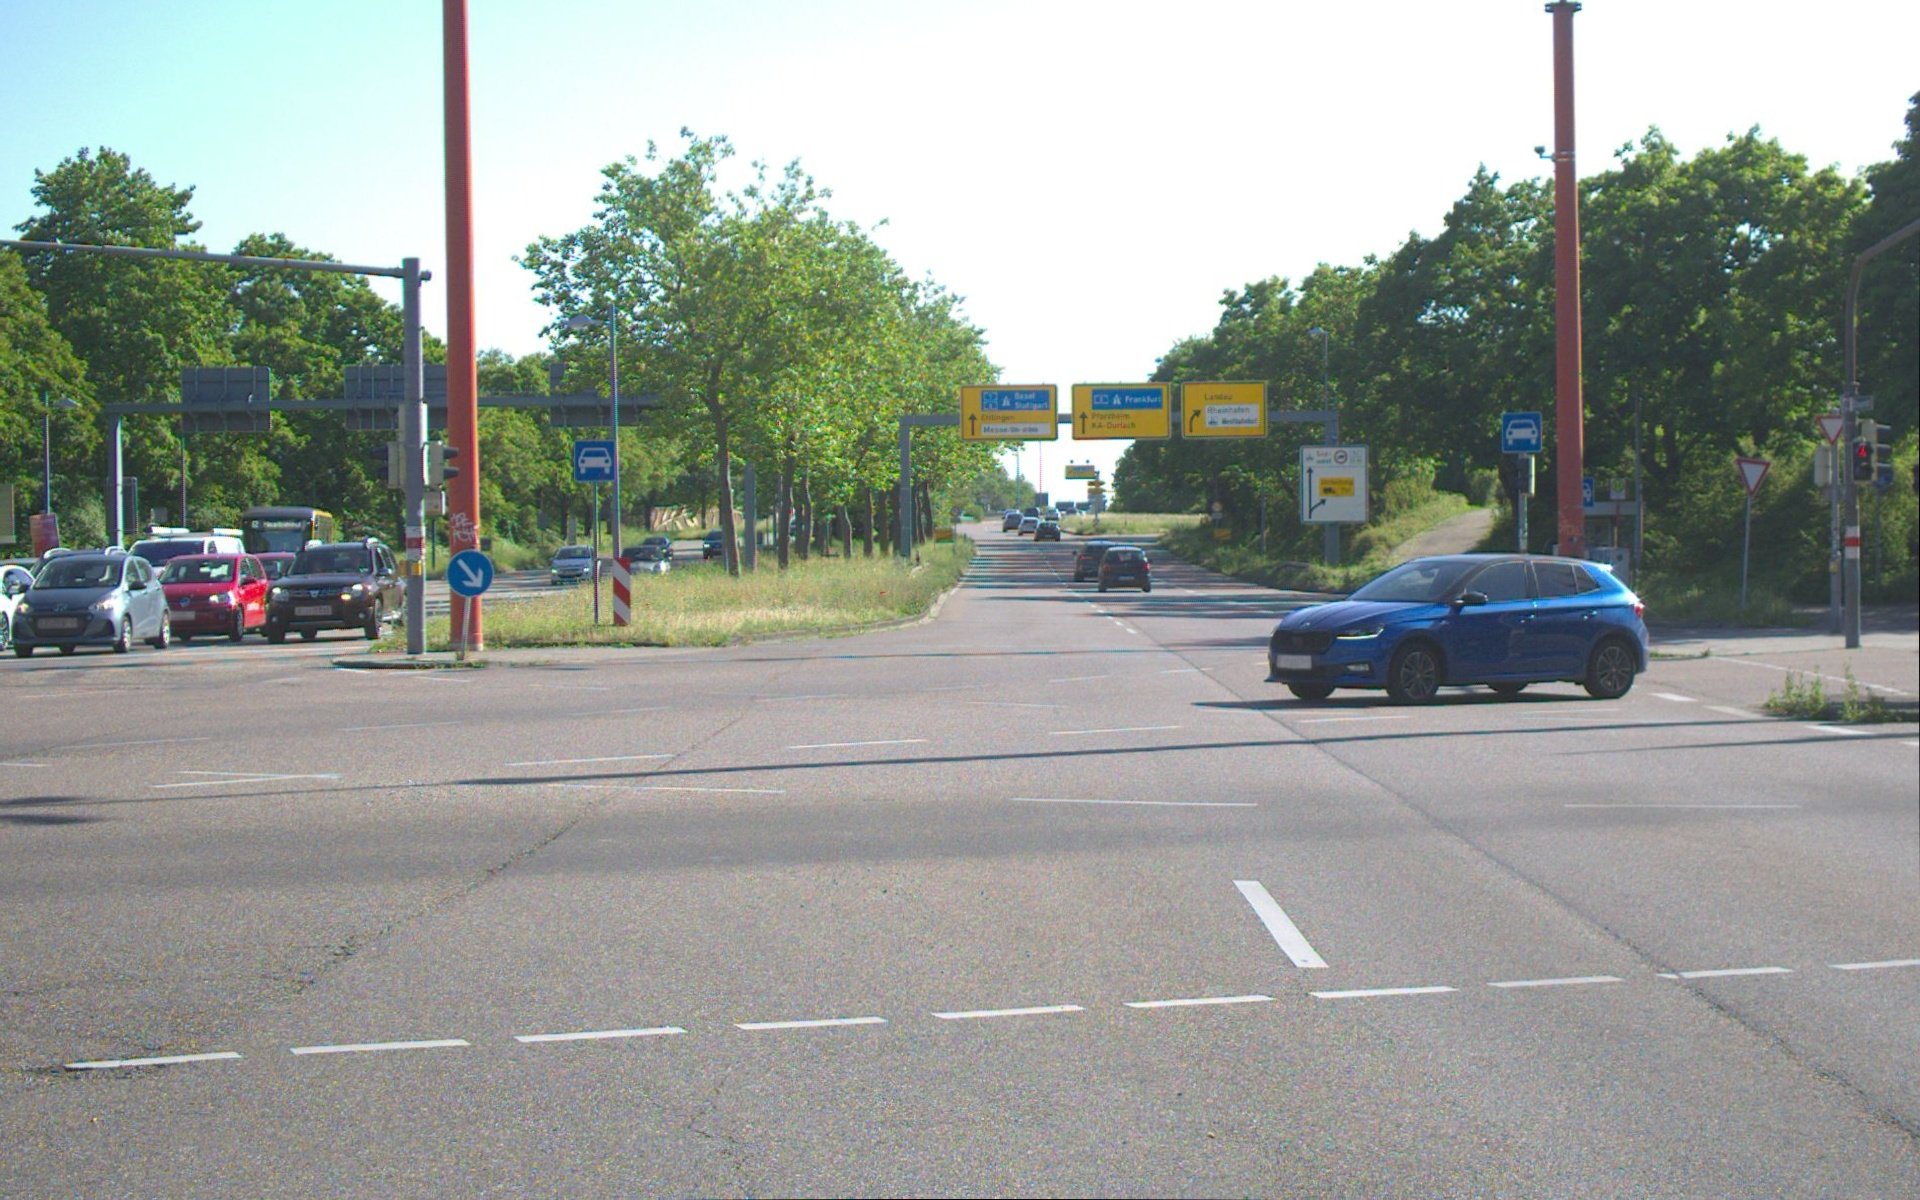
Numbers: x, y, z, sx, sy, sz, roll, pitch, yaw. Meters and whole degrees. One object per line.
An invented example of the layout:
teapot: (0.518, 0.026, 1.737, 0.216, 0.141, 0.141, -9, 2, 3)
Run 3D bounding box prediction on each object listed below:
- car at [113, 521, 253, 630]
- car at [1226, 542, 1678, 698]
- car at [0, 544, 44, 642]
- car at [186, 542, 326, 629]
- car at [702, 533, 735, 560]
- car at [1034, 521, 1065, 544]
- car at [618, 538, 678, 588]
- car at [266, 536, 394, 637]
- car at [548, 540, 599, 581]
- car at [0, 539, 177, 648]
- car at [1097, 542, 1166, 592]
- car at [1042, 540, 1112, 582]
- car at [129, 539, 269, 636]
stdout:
car: (-16.112, -0.528, 71.513, 2.062, 2.185, 4.379, -1, 1, -2)
car: (4.924, 0.159, 34.244, 4.267, 1.423, 1.884, -1, 1, -33)
car: (-16.487, -0.118, 57.041, 1.993, 1.568, 4.122, -2, 1, -8)
car: (-13.115, -0.296, 64.252, 1.993, 1.568, 4.121, -1, 1, -4)
car: (-14.224, -3.166, 202.037, 1.876, 1.568, 4.121, -1, 1, -5)
car: (6.401, -4.831, 246.663, 2.159, 1.568, 4.281, -1, 1, 1)
car: (-10.053, -1.209, 111.070, 1.876, 1.568, 4.121, -1, 1, -5)
car: (-10.246, -0.245, 56.152, 1.876, 1.568, 4.122, -1, 1, -8)
car: (-15.365, -1.589, 136.720, 1.876, 1.568, 4.121, -1, 1, -5)
car: (-13.252, -0.132, 52.171, 1.993, 1.568, 4.121, -1, 1, -3)
car: (5.536, -1.073, 111.202, 2.159, 1.568, 4.281, -1, 1, 2)
car: (4.487, -1.517, 132.022, 2.158, 1.568, 4.584, -1, 1, -5)
car: (-12.897, -0.236, 58.473, 1.993, 1.568, 4.122, -1, 1, -8)
